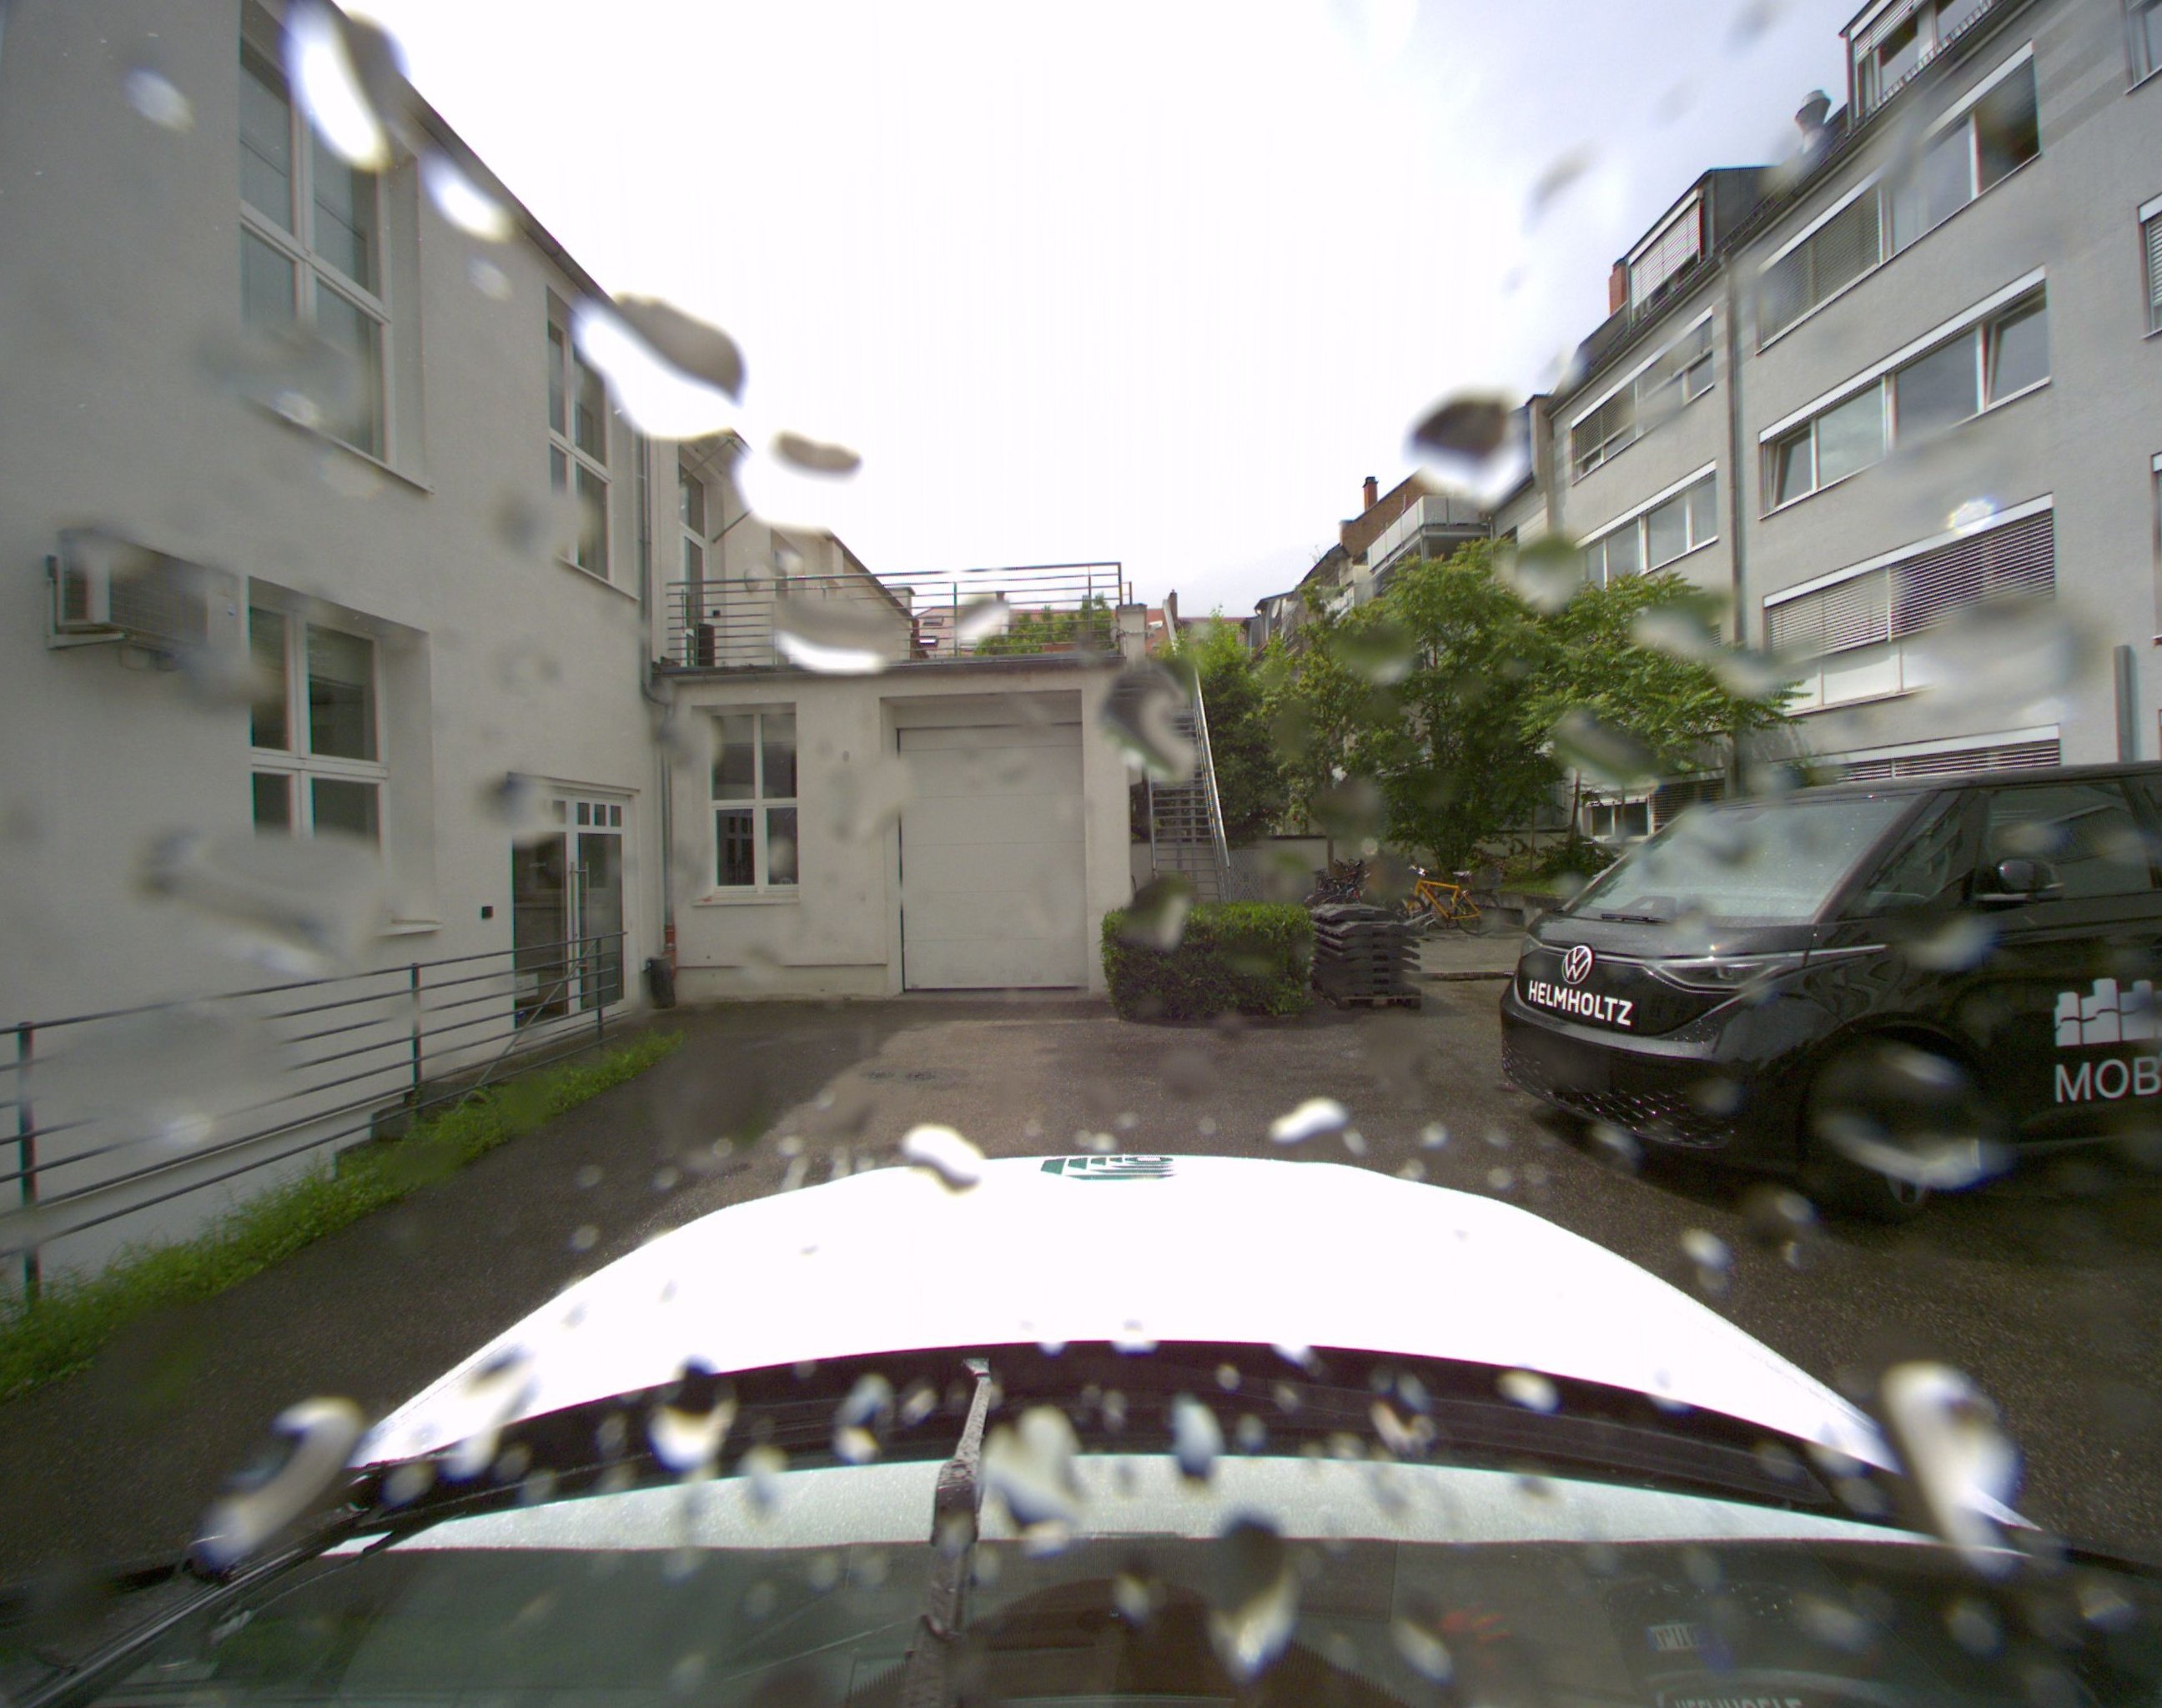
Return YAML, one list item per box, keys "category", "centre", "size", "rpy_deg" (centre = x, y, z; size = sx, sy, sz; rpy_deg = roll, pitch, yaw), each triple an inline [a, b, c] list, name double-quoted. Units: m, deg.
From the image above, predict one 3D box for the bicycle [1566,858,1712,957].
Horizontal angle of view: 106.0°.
- category: "bicycle"
  centre: [7.186, 0.651, 10.601]
  size: [0.612, 1.158, 1.720]
  rpy_deg: [-2, 0, -3]

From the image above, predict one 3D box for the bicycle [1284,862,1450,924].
- category: "bicycle"
  centre: [5.261, 0.709, 15.067]
  size: [2.834, 1.078, 0.689]
  rpy_deg: [0, 1, 0]

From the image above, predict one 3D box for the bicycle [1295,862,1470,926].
- category: "bicycle"
  centre: [5.275, 0.691, 14.352]
  size: [2.834, 1.078, 0.689]
  rpy_deg: [0, 1, 0]

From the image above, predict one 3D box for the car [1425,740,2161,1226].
- category: "car"
  centre: [4.693, 0.433, 4.434]
  size: [4.700, 1.833, 2.108]
  rpy_deg: [-3, 0, -4]

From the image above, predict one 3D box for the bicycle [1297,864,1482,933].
- category: "bicycle"
  centre: [5.127, 0.734, 13.629]
  size: [2.834, 1.078, 0.689]
  rpy_deg: [0, 1, 0]

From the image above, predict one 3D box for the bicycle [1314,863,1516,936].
- category: "bicycle"
  centre: [5.234, 0.698, 12.849]
  size: [2.914, 1.078, 0.689]
  rpy_deg: [0, 1, 0]

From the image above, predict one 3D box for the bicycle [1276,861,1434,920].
- category: "bicycle"
  centre: [5.272, 0.697, 15.775]
  size: [2.834, 1.078, 0.689]
  rpy_deg: [0, 1, 0]
